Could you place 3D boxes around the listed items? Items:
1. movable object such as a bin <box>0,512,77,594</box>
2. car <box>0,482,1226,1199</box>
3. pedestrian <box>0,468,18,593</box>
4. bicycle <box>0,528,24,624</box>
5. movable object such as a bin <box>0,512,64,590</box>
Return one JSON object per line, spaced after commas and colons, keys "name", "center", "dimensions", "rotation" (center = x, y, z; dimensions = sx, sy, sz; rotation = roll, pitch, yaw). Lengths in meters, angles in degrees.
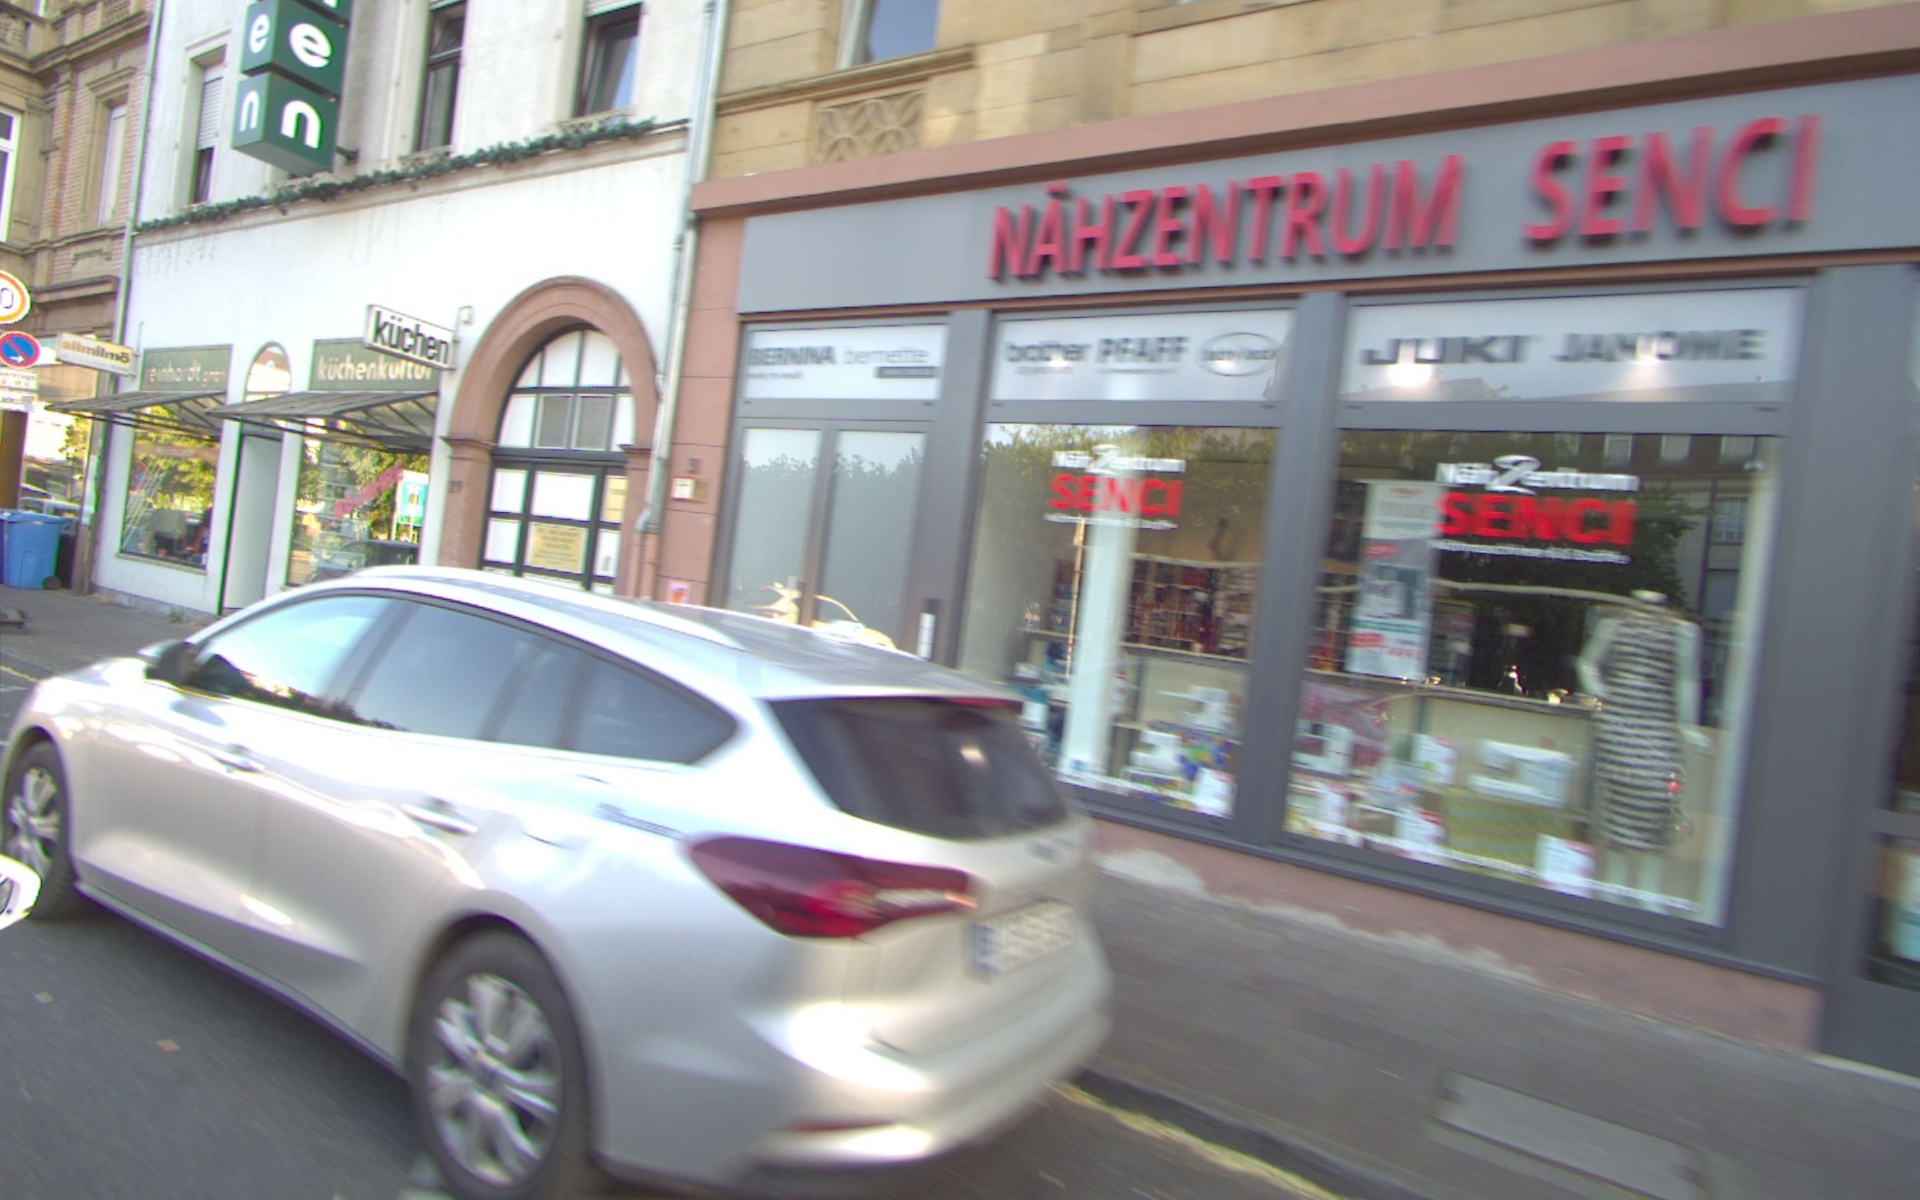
{"name": "movable object such as a bin", "center": [-13.550, -0.683, 14.691], "dimensions": [0.607, 1.084, 0.775], "rotation": [7, 2, 31]}
{"name": "car", "center": [-1.697, 0.610, 3.668], "dimensions": [4.739, 1.553, 1.764], "rotation": [7, -3, 29]}
{"name": "pedestrian", "center": [-13.982, -1.041, 14.107], "dimensions": [1.024, 1.734, 0.773], "rotation": [8, 2, 31]}
{"name": "bicycle", "center": [-11.466, -0.366, 11.520], "dimensions": [1.914, 1.028, 0.505], "rotation": [7, 1, 30]}
{"name": "movable object such as a bin", "center": [-14.072, -0.745, 15.063], "dimensions": [0.607, 1.084, 0.775], "rotation": [7, 2, 31]}
